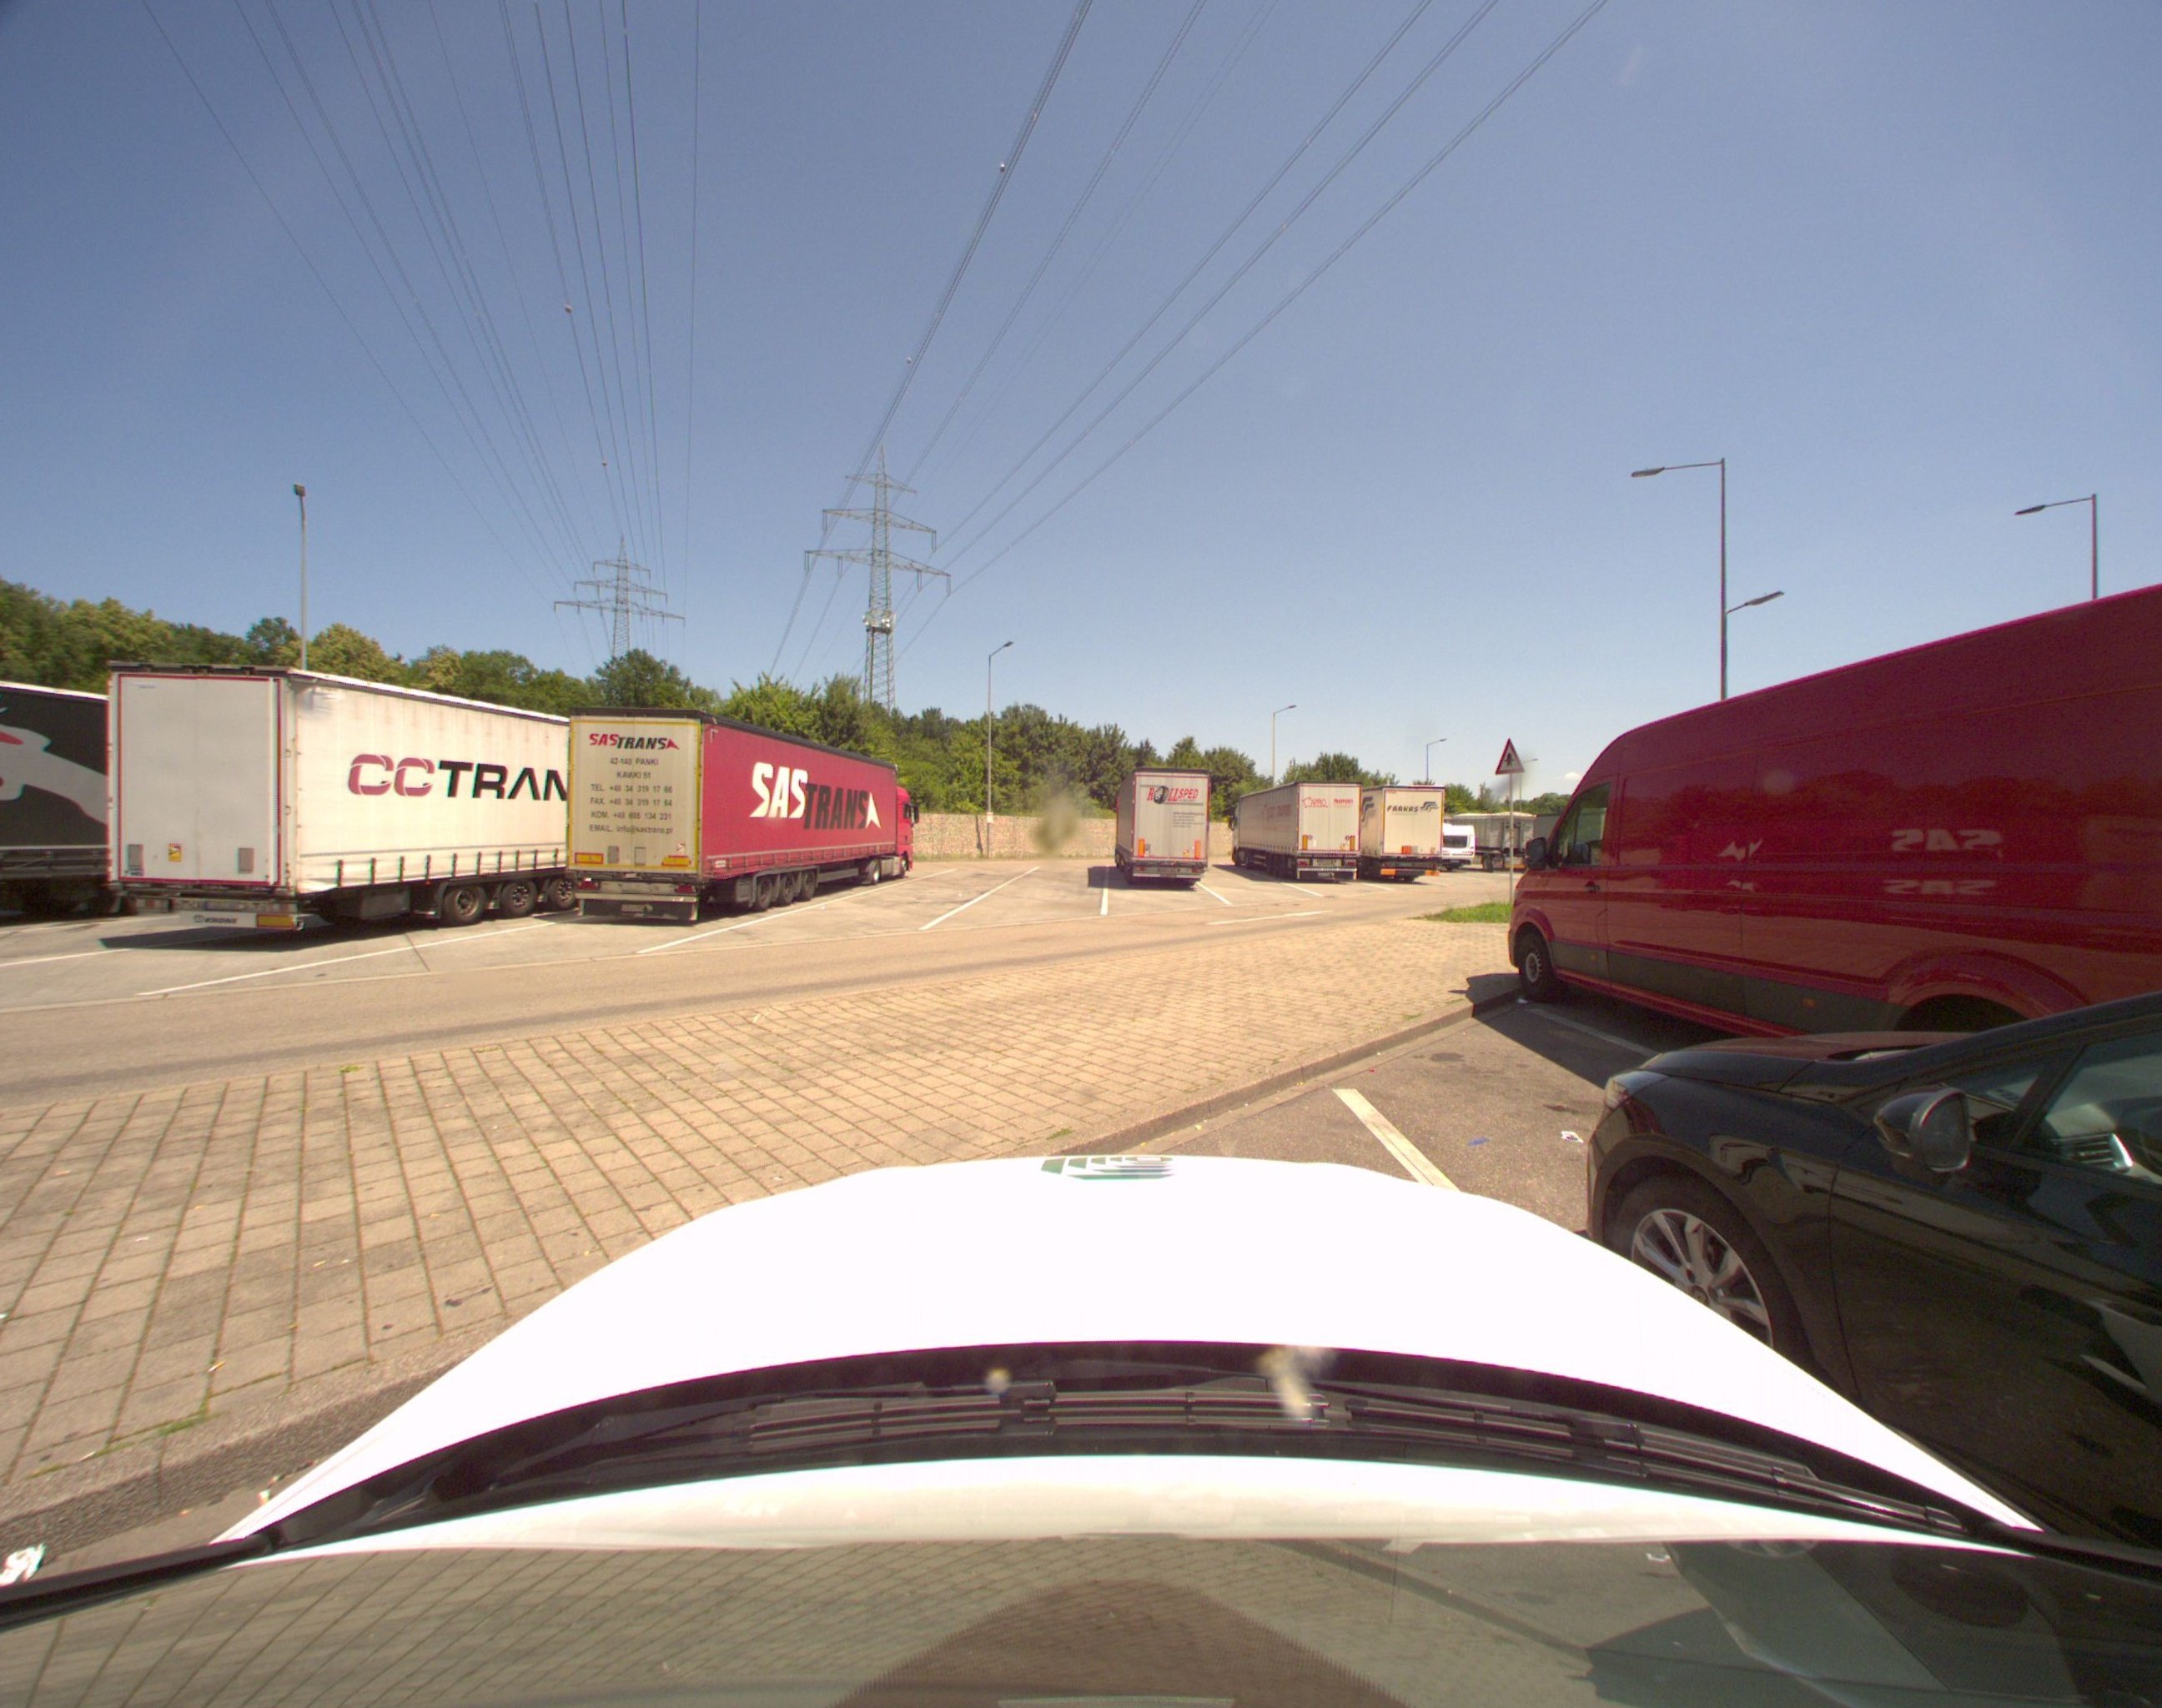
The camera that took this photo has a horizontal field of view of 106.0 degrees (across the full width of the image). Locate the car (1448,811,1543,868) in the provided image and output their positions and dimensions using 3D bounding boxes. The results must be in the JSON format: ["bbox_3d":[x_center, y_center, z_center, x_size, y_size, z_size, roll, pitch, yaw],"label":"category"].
[{"bbox_3d":[24.137,-0.829,47.758,2.490,3.074,6.353,-1,1,2],"label":"car"}]

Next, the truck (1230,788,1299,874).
[{"bbox_3d":[10.078,-1.236,45.189,2.651,4.452,5.866,-1,1,2],"label":"truck"}]

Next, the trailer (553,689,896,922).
[{"bbox_3d":[-7.998,-0.971,21.460,2.789,4.219,13.208,-1,1,2],"label":"trailer"}]

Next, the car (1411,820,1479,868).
[{"bbox_3d":[20.539,-0.524,46.136,2.107,2.599,4.001,0,-1,2],"label":"car"}]

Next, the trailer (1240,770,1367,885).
[{"bbox_3d":[9.904,-1.116,38.119,2.672,4.452,12.833,-1,1,1],"label":"trailer"}]

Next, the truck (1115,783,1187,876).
[{"bbox_3d":[3.125,-1.092,37.853,2.862,3.980,6.030,0,1,0],"label":"truck"}]

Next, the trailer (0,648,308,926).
[{"bbox_3d":[-18.558,-1.092,14.942,2.668,4.444,6.151,-1,1,2],"label":"trailer"}]

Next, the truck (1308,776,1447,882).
[{"bbox_3d":[13.536,-0.944,38.615,2.577,4.226,11.974,0,-1,2],"label":"truck"}]

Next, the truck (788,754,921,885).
[{"bbox_3d":[-7.748,-1.135,28.716,2.795,4.133,5.896,-1,1,2],"label":"truck"}]

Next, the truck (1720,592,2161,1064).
[{"bbox_3d":[7.797,-0.154,6.034,2.508,2.827,4.821,0,-1,3],"label":"truck"}]

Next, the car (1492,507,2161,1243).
[{"bbox_3d":[5.114,0.030,5.499,1.984,2.633,6.393,-1,1,5],"label":"car"}]

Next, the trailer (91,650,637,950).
[{"bbox_3d":[-12.183,-0.807,15.410,2.744,4.152,8.291,0,1,2],"label":"trailer"}]

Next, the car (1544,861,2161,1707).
[{"bbox_3d":[2.541,0.744,0.952,1.772,1.457,3.681,0,-1,-3],"label":"car"}]

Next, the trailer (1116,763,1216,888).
[{"bbox_3d":[3.023,-1.004,32.154,2.887,4.013,11.319,-1,1,1],"label":"trailer"}]
